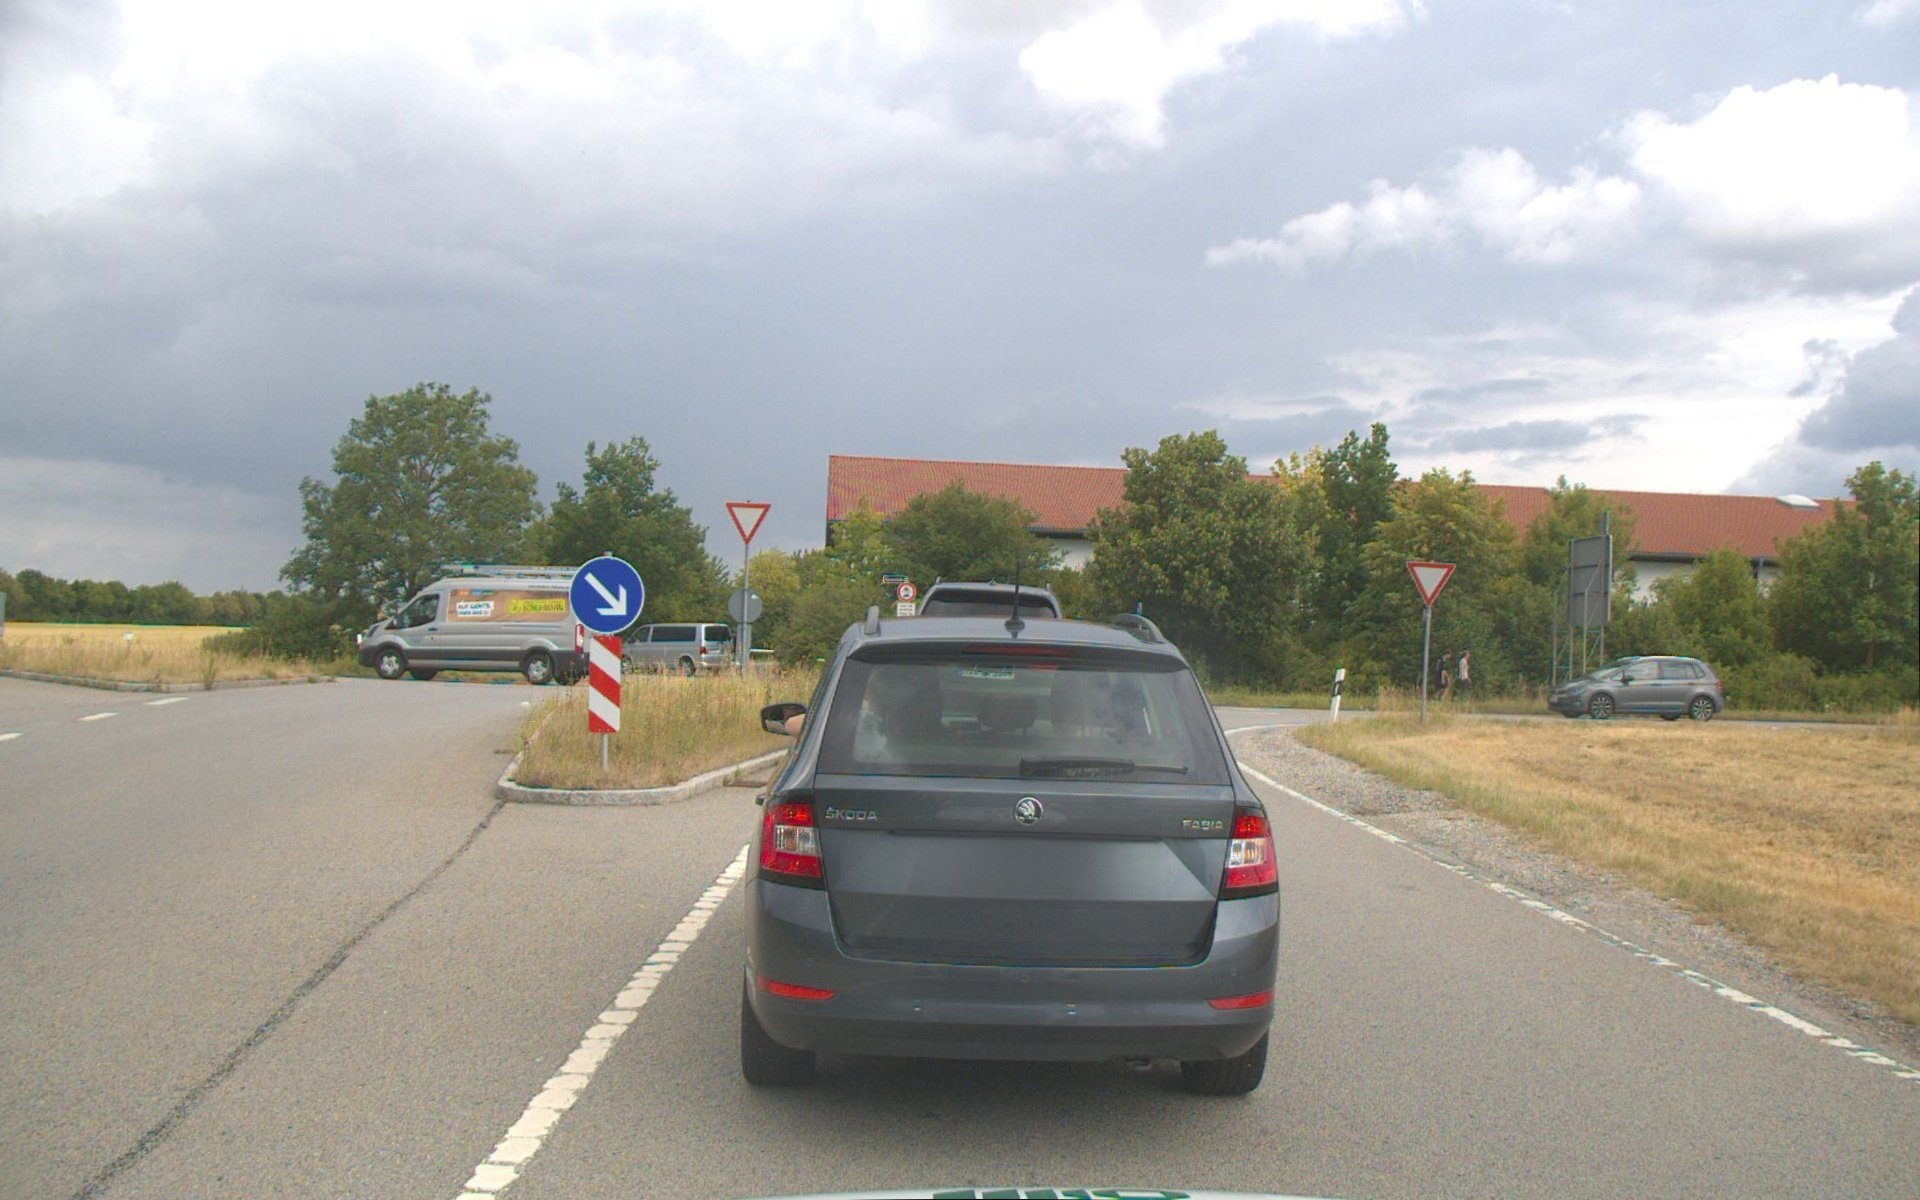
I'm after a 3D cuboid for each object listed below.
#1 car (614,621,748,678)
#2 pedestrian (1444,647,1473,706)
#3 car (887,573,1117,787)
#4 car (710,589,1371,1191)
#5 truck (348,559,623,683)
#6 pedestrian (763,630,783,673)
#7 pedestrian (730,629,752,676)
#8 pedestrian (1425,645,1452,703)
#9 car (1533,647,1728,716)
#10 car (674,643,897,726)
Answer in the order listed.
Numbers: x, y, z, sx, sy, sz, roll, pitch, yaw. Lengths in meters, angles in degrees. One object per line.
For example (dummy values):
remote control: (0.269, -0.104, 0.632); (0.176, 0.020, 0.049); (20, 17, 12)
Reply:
car: (-10.735, 1.863, 63.532); (4.814, 2.049, 2.334); (1, 0, 35)
pedestrian: (14.662, 2.248, 48.636); (0.614, 1.712, 0.529); (1, -1, -10)
car: (0.407, 0.773, 16.753); (1.952, 1.806, 4.643); (2, -2, 1)
car: (0.182, 0.747, 6.018); (1.642, 1.488, 3.707); (1, -1, -1)
truck: (-11.206, 0.483, 39.254); (5.896, 2.750, 2.068); (1, 0, 8)
pedestrian: (-7.549, 2.065, 66.661); (0.571, 1.712, 0.566); (1, -1, 21)
pedestrian: (-8.366, 2.003, 63.281); (0.519, 1.756, 0.640); (1, -1, 33)
pedestrian: (14.411, 2.225, 49.817); (0.614, 1.712, 0.529); (1, -1, -10)
car: (16.929, 2.040, 41.888); (4.126, 1.629, 1.999); (0, -1, -3)
car: (-3.389, 1.573, 31.700); (4.271, 1.368, 1.674); (1, -1, 37)
